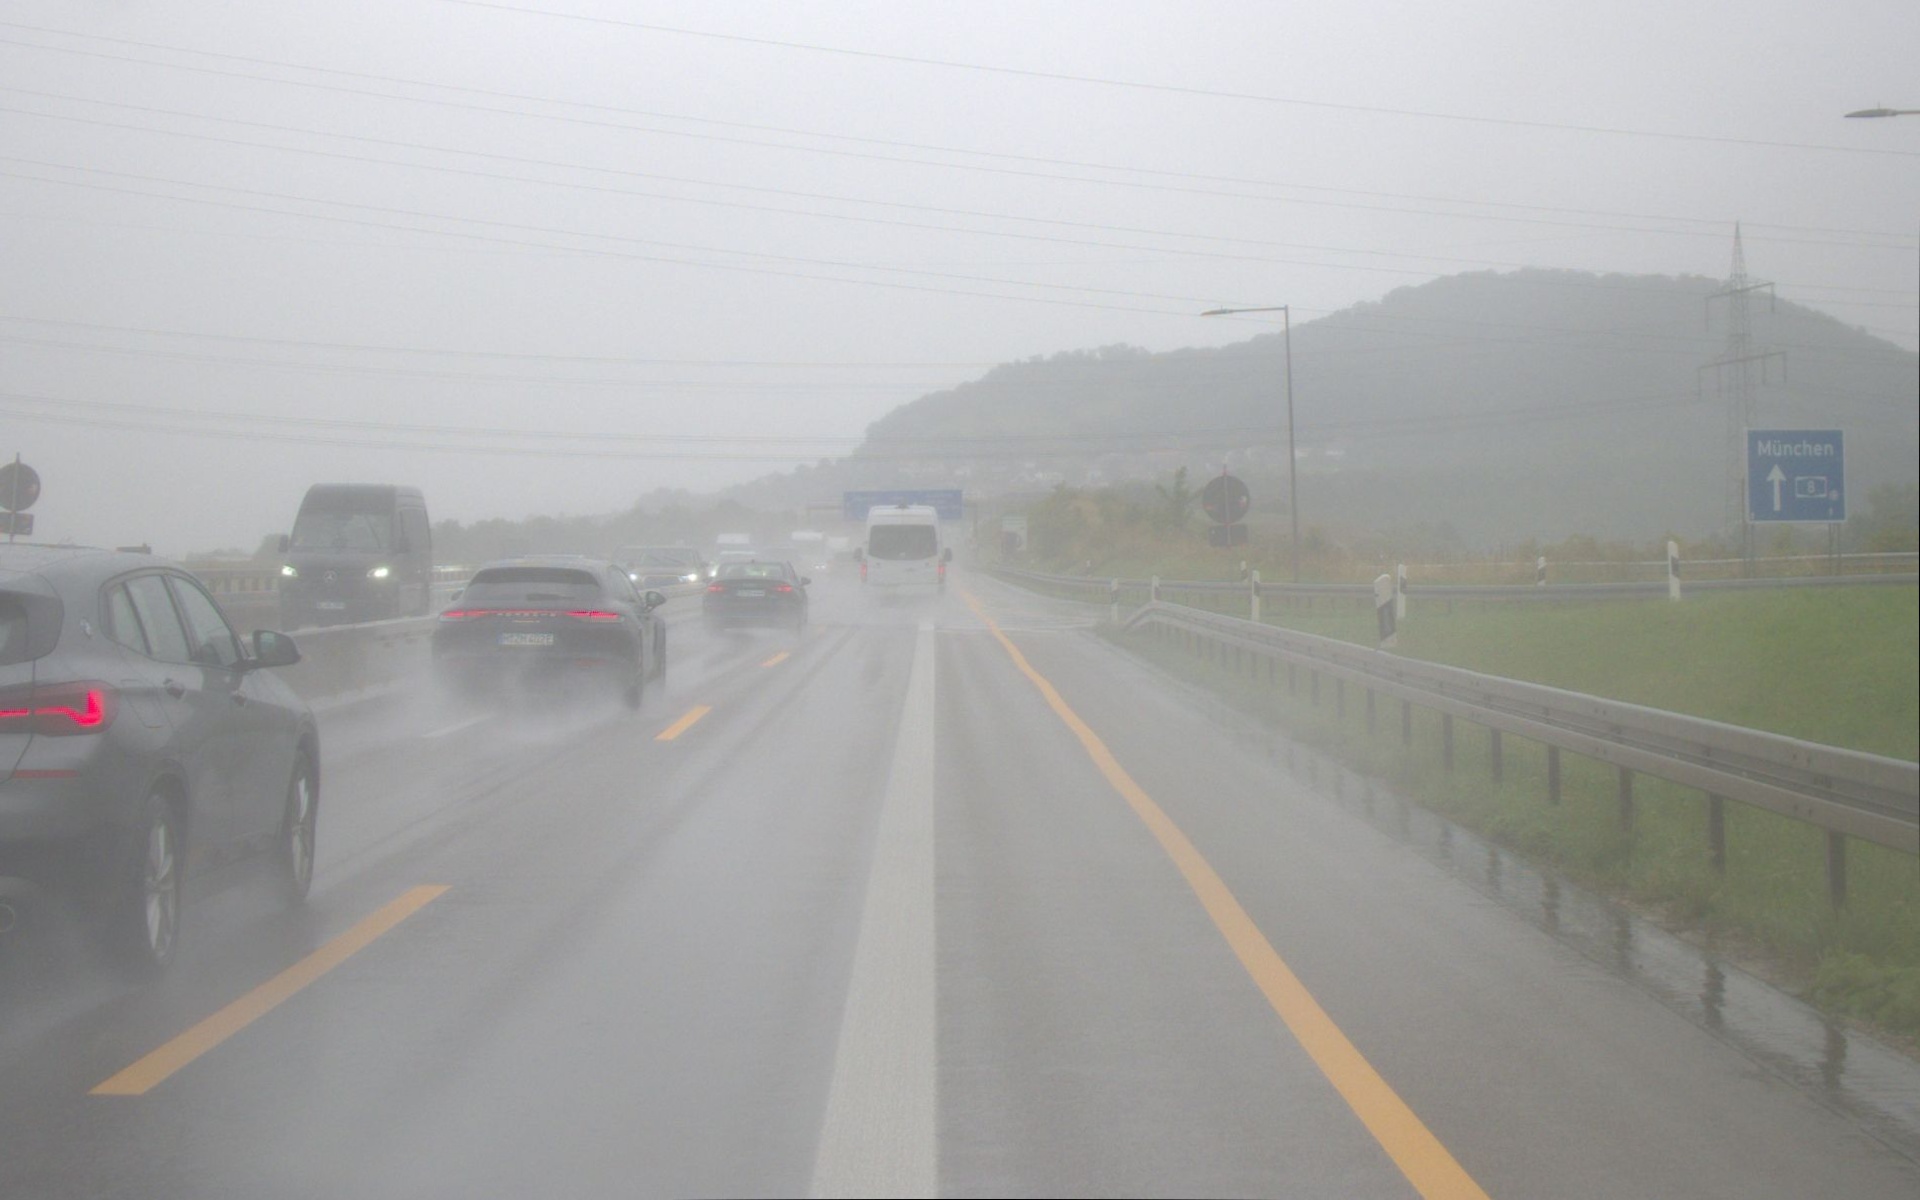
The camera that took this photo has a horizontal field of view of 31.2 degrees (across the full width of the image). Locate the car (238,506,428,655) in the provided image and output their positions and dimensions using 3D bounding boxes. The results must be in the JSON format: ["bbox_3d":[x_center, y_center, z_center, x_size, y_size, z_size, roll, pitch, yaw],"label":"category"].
[{"bbox_3d":[-11.259,-0.371,62.195,2.070,2.509,6.175,-1,1,2],"label":"car"}]

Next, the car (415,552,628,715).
[{"bbox_3d":[-4.206,0.326,33.497,1.844,1.486,4.262,0,-1,-4],"label":"car"}]

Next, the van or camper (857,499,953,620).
[{"bbox_3d":[-1.321,-0.911,81.175,1.996,2.768,4.050,0,-1,-4],"label":"van or camper"}]

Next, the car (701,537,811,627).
[{"bbox_3d":[-3.691,-0.348,62.130,1.844,1.486,4.262,-3,1,-4],"label":"car"}]

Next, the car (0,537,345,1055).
[{"bbox_3d":[-3.515,0.621,12.982,1.700,1.592,4.845,0,-1,-2],"label":"car"}]
